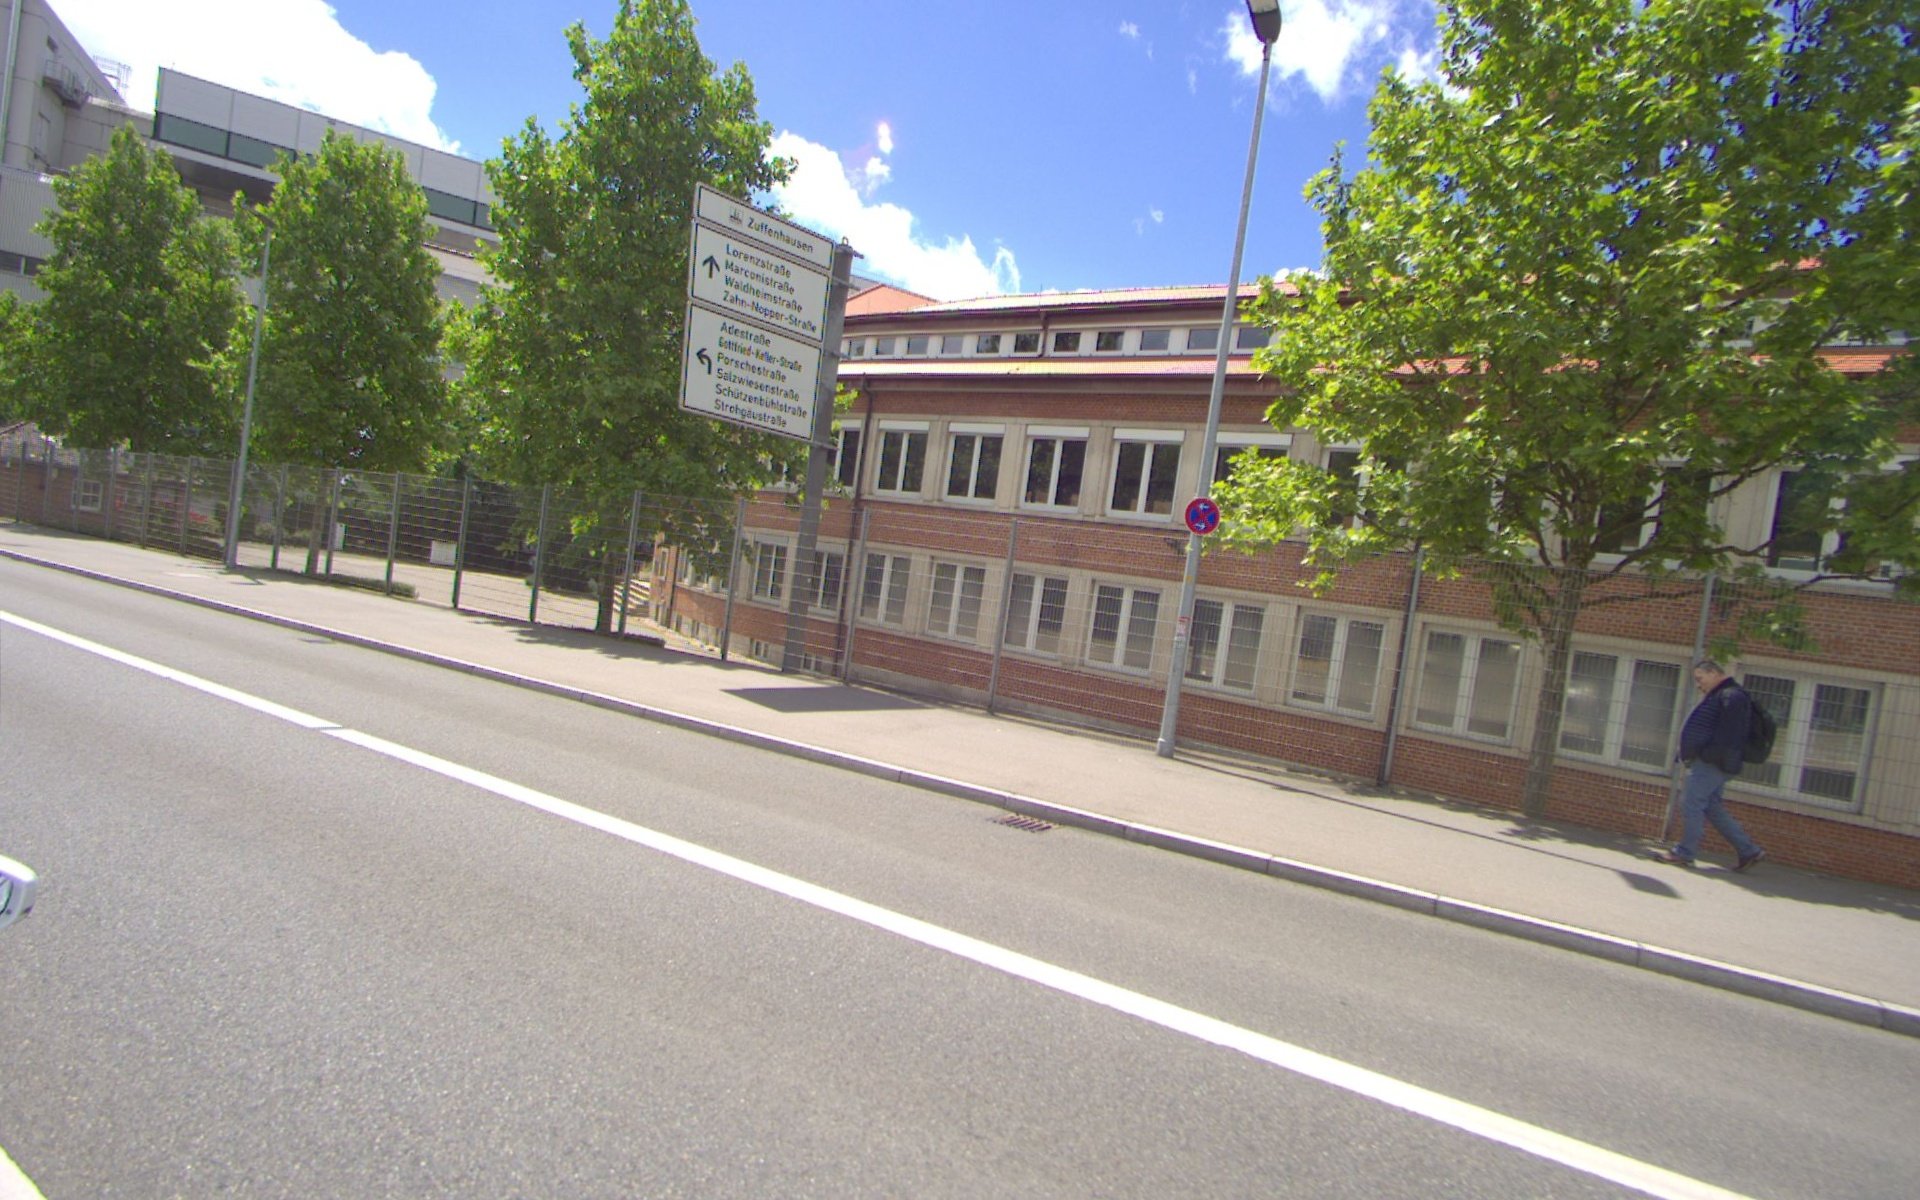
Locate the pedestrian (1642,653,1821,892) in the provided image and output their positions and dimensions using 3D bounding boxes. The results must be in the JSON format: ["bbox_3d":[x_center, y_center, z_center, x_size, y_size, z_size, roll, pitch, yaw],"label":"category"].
[{"bbox_3d":[6.441,1.386,8.479,0.925,1.767,0.877,7,3,31],"label":"pedestrian"}]
